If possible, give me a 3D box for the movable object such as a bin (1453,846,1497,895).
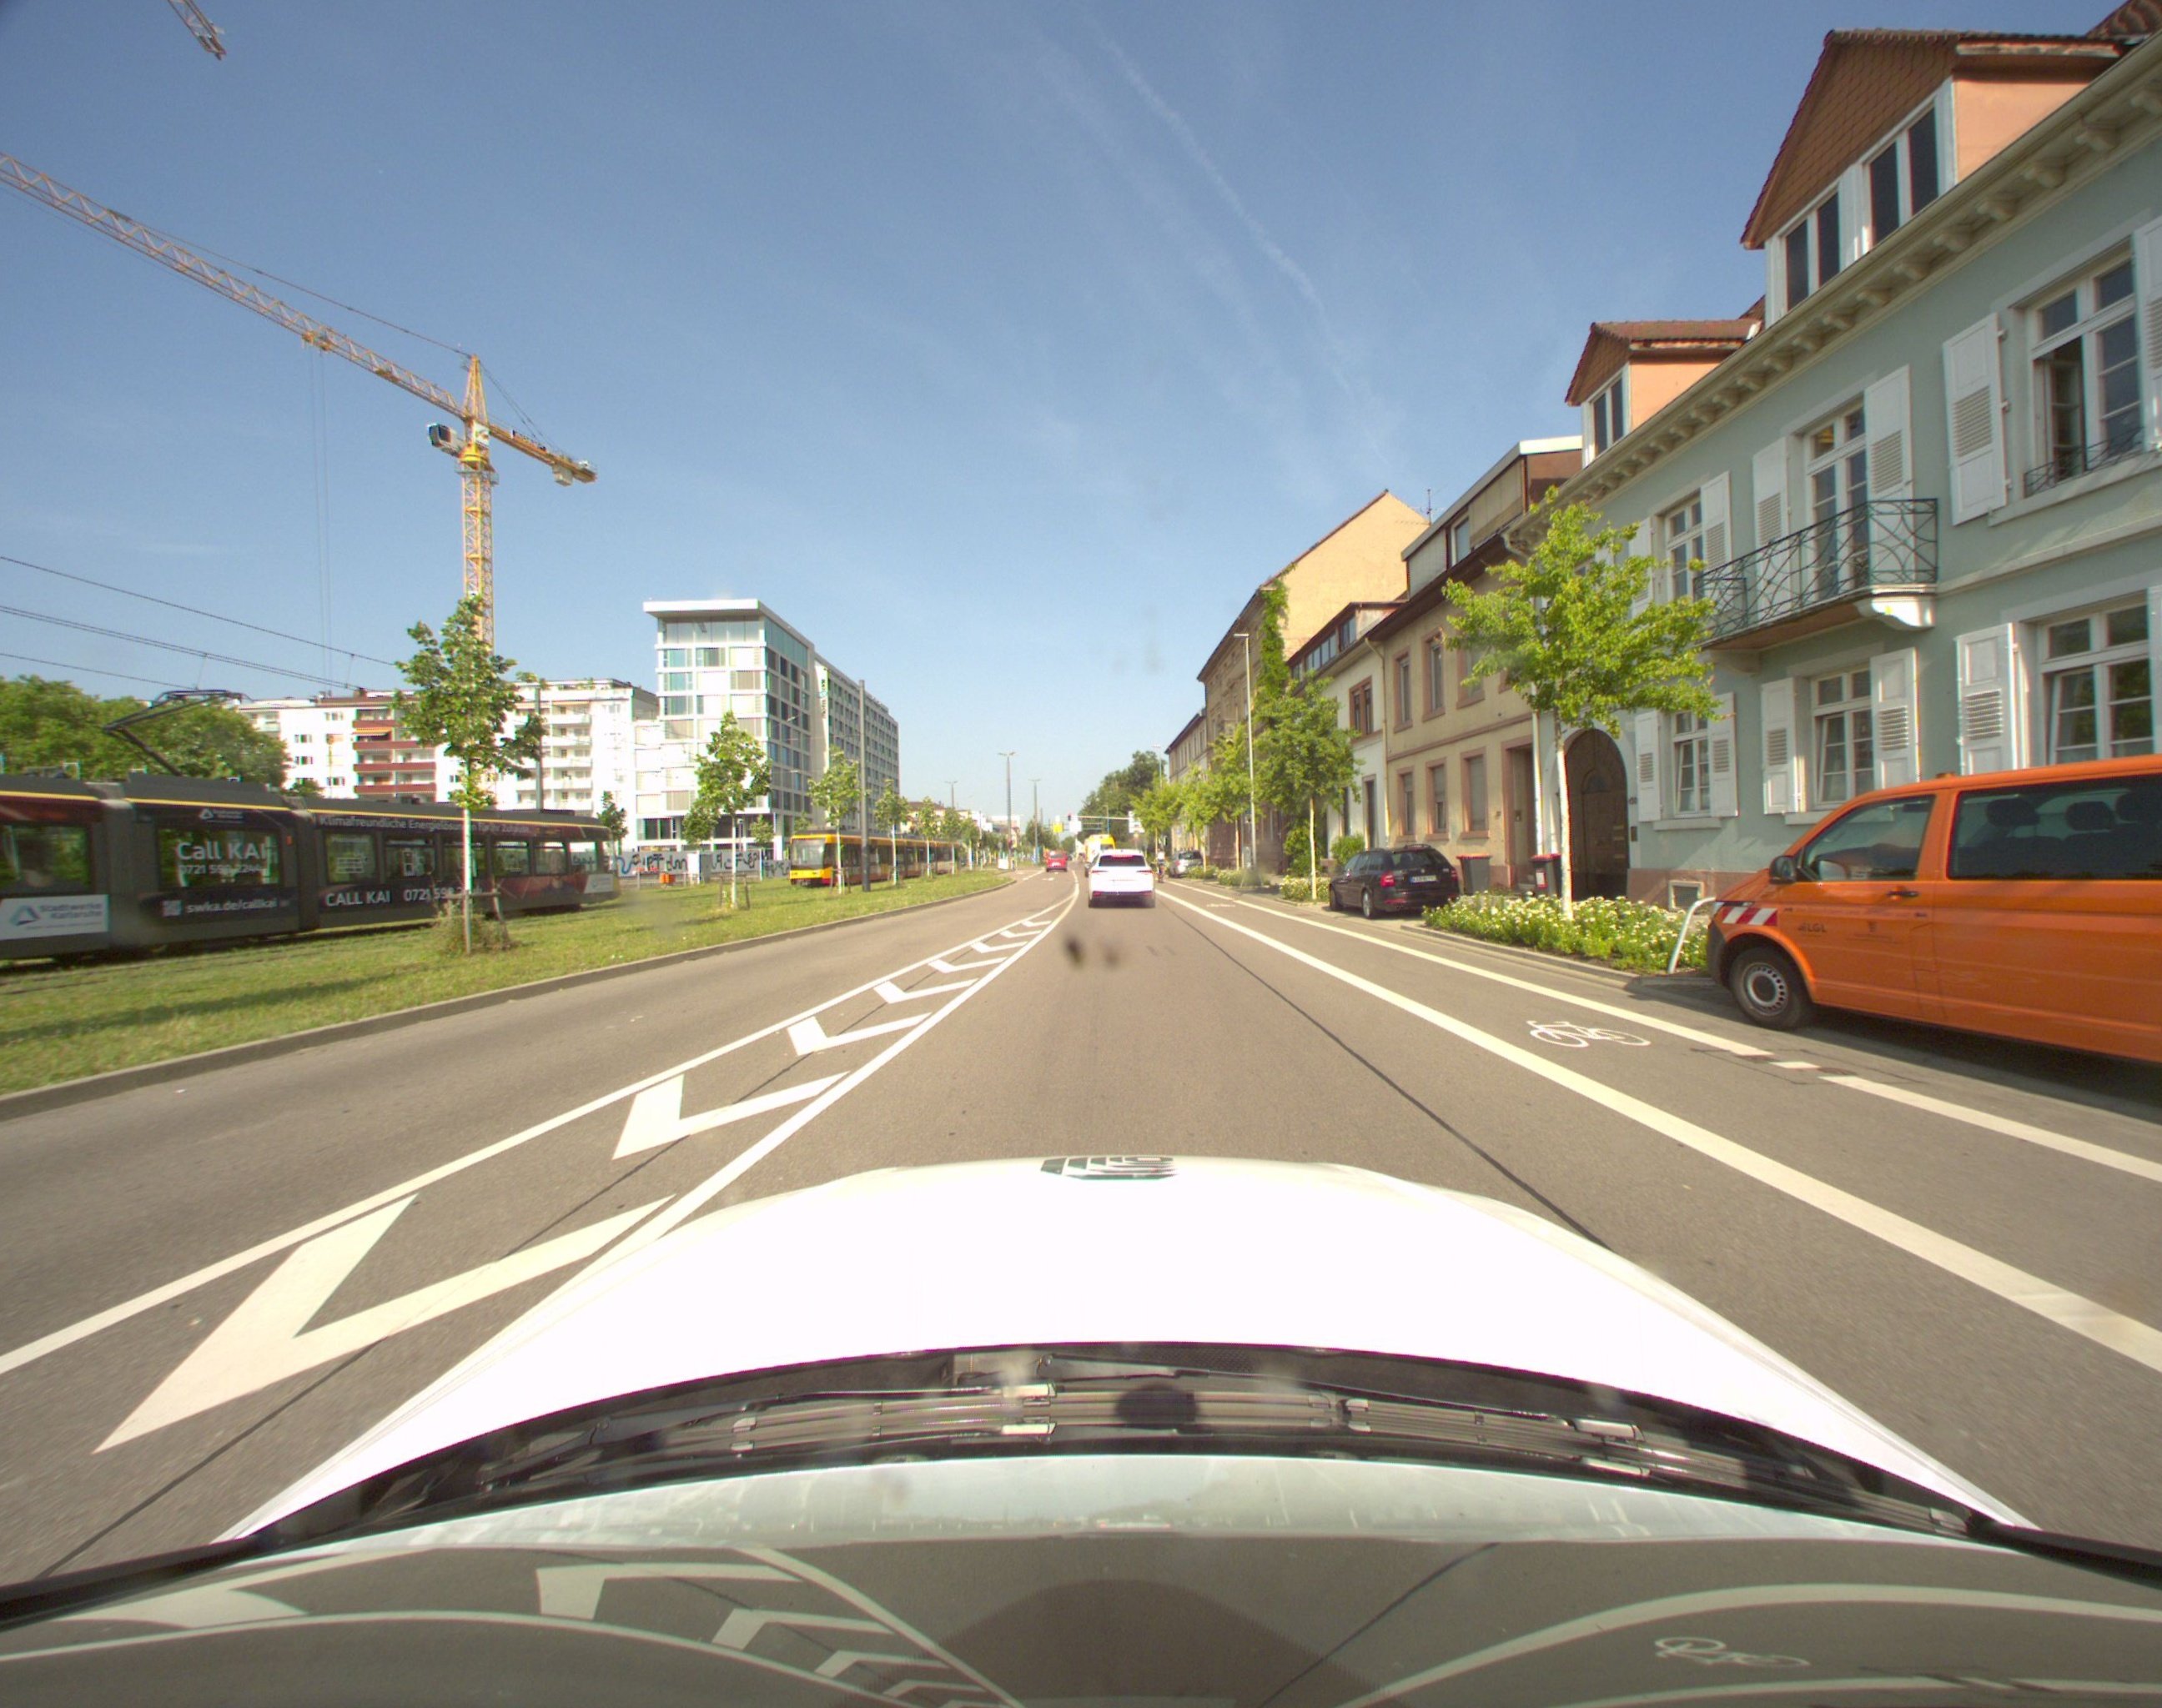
[{"bbox_3d":[9.942,0.397,20.574,0.738,1.200,0.773,-1,0,-1],"label":"movable object such as a bin"}]

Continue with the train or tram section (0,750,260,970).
[{"bbox_3d":[-18.750,0.145,9.702,2.851,3.536,14.894,-1,0,0],"label":"train or tram section"}]

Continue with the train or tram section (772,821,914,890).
[{"bbox_3d":[-14.538,0.088,52.485,2.894,3.676,18.150,0,0,3],"label":"train or tram section"}]

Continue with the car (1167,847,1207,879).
[{"bbox_3d":[6.221,0.508,48.222,1.807,1.812,3.835,-1,0,-1],"label":"car"}]

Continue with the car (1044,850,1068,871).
[{"bbox_3d":[-2.251,0.579,73.480,1.924,1.821,4.001,-1,0,1],"label":"car"}]

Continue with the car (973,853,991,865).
[{"bbox_3d":[-13.764,0.659,113.757,1.809,1.622,4.002,-1,0,2],"label":"car"}]

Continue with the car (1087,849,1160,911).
[{"bbox_3d":[1.116,0.659,23.341,1.864,1.574,4.000,-2,0,0],"label":"car"}]

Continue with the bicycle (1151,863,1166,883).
[{"bbox_3d":[3.865,0.945,40.709,0.653,0.938,1.518,-1,0,2],"label":"bicycle"}]

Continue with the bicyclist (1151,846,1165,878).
[{"bbox_3d":[3.852,0.391,40.904,0.636,1.577,0.771,-1,0,2],"label":"bicyclist"}]

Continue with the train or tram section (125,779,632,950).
[{"bbox_3d":[-18.595,0.179,24.013,2.871,3.536,13.612,-1,0,1],"label":"train or tram section"}]

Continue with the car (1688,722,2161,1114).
[{"bbox_3d":[6.551,0.291,5.097,2.057,2.013,4.587,-2,1,-1],"label":"car"}]

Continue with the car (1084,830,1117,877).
[{"bbox_3d":[1.211,-0.111,53.650,2.014,2.795,5.401,-2,2,0],"label":"car"}]

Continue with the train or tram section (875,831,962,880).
[{"bbox_3d":[-13.628,0.136,70.699,2.894,3.707,18.303,0,0,3],"label":"train or tram section"}]

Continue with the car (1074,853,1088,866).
[{"bbox_3d":[0.021,0.739,115.911,1.924,1.821,4.001,-1,0,1],"label":"car"}]

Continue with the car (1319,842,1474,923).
[{"bbox_3d":[6.773,0.557,17.994,1.668,1.483,4.311,-3,0,-1],"label":"car"}]

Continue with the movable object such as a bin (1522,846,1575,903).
[{"bbox_3d":[10.050,0.425,17.545,0.677,1.200,0.781,-1,0,-1],"label":"movable object such as a bin"}]
